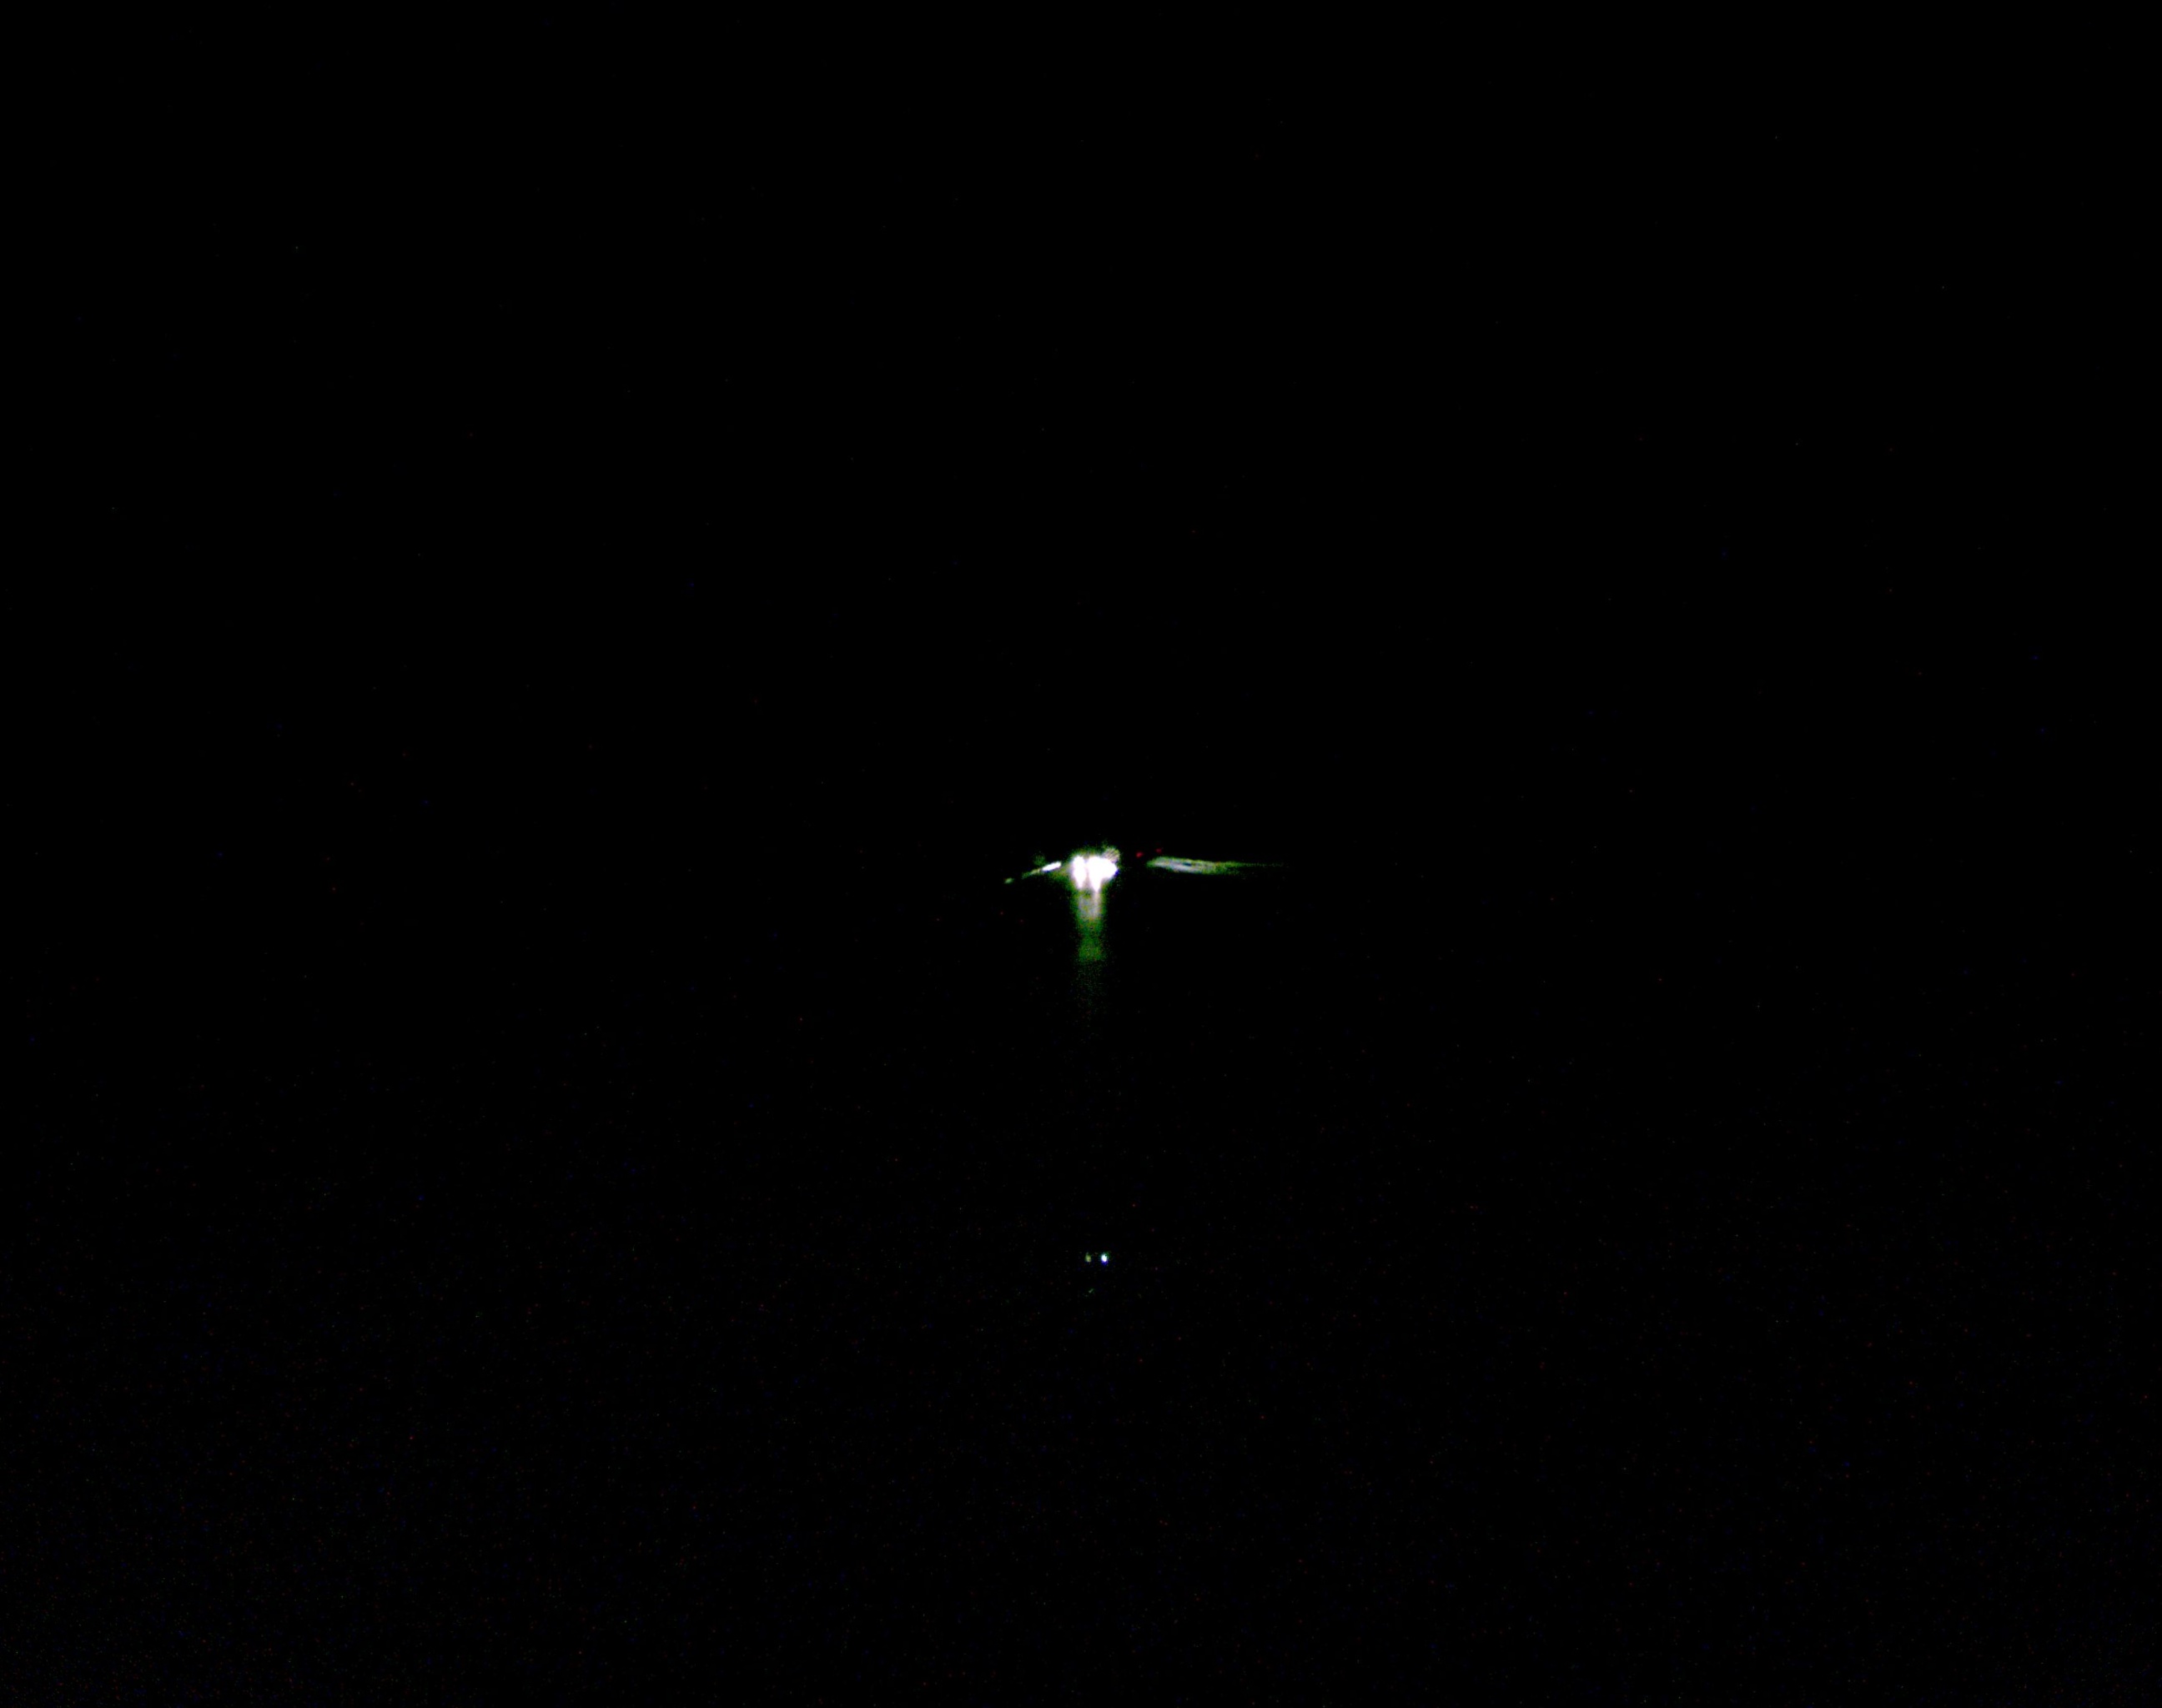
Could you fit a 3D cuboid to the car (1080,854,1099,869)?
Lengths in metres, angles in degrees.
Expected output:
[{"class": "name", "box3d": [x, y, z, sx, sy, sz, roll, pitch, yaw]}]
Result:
[{"class": "car", "box3d": [0.976, 0.782, 83.065, 1.807, 1.452, 4.276, -3, 0, 3]}]

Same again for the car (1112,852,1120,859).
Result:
[{"class": "car", "box3d": [9.169, 0.406, 196.500, 1.838, 1.536, 4.647, -2, 1, 5]}]
